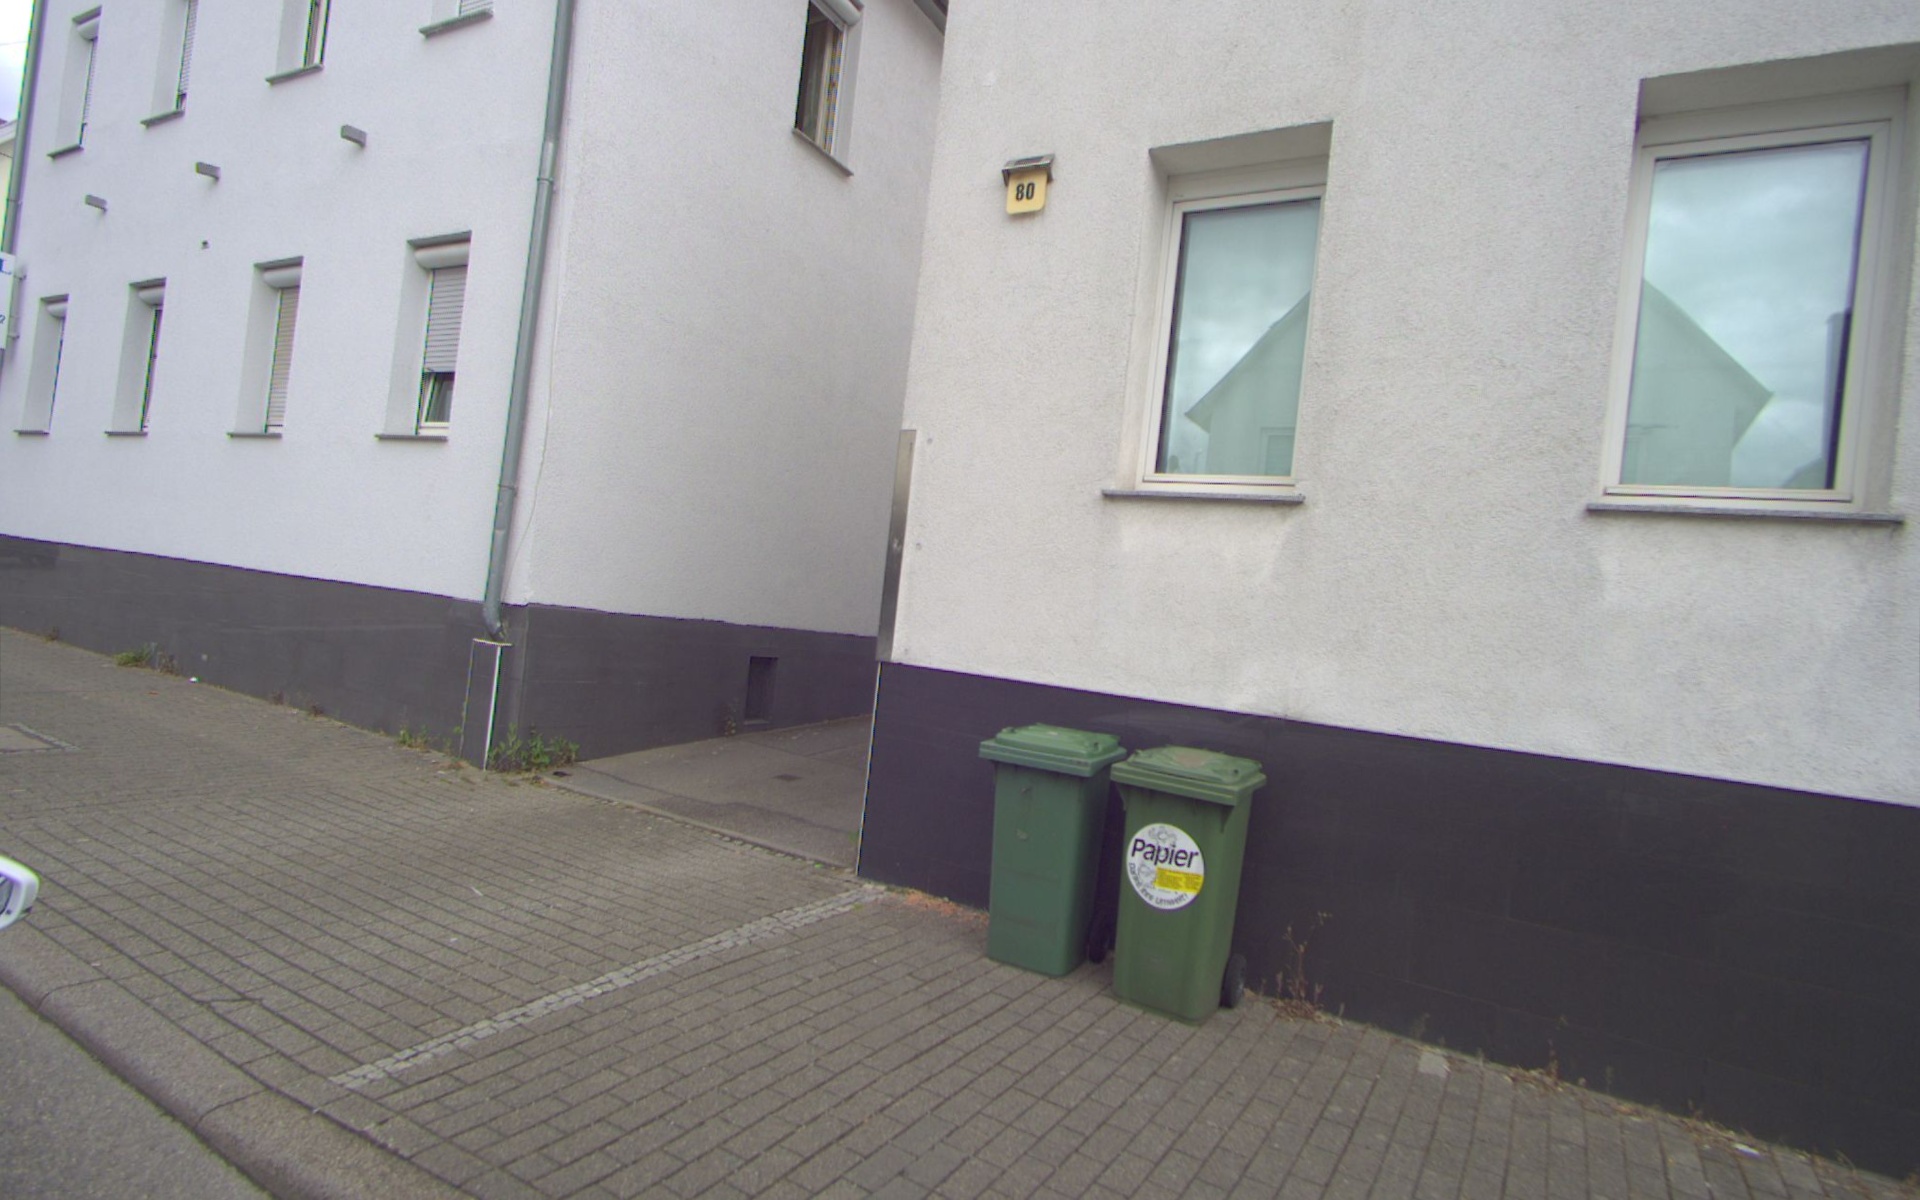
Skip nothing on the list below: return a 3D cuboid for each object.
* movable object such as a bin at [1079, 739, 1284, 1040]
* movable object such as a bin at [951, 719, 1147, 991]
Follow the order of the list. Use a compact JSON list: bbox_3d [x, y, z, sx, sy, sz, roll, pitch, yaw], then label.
[{"bbox_3d":[0.843,1.031,3.775,0.510,0.915,0.564,6,1,31],"label":"movable object such as a bin"},{"bbox_3d":[0.370,0.986,4.090,0.510,0.915,0.564,6,1,31],"label":"movable object such as a bin"}]
